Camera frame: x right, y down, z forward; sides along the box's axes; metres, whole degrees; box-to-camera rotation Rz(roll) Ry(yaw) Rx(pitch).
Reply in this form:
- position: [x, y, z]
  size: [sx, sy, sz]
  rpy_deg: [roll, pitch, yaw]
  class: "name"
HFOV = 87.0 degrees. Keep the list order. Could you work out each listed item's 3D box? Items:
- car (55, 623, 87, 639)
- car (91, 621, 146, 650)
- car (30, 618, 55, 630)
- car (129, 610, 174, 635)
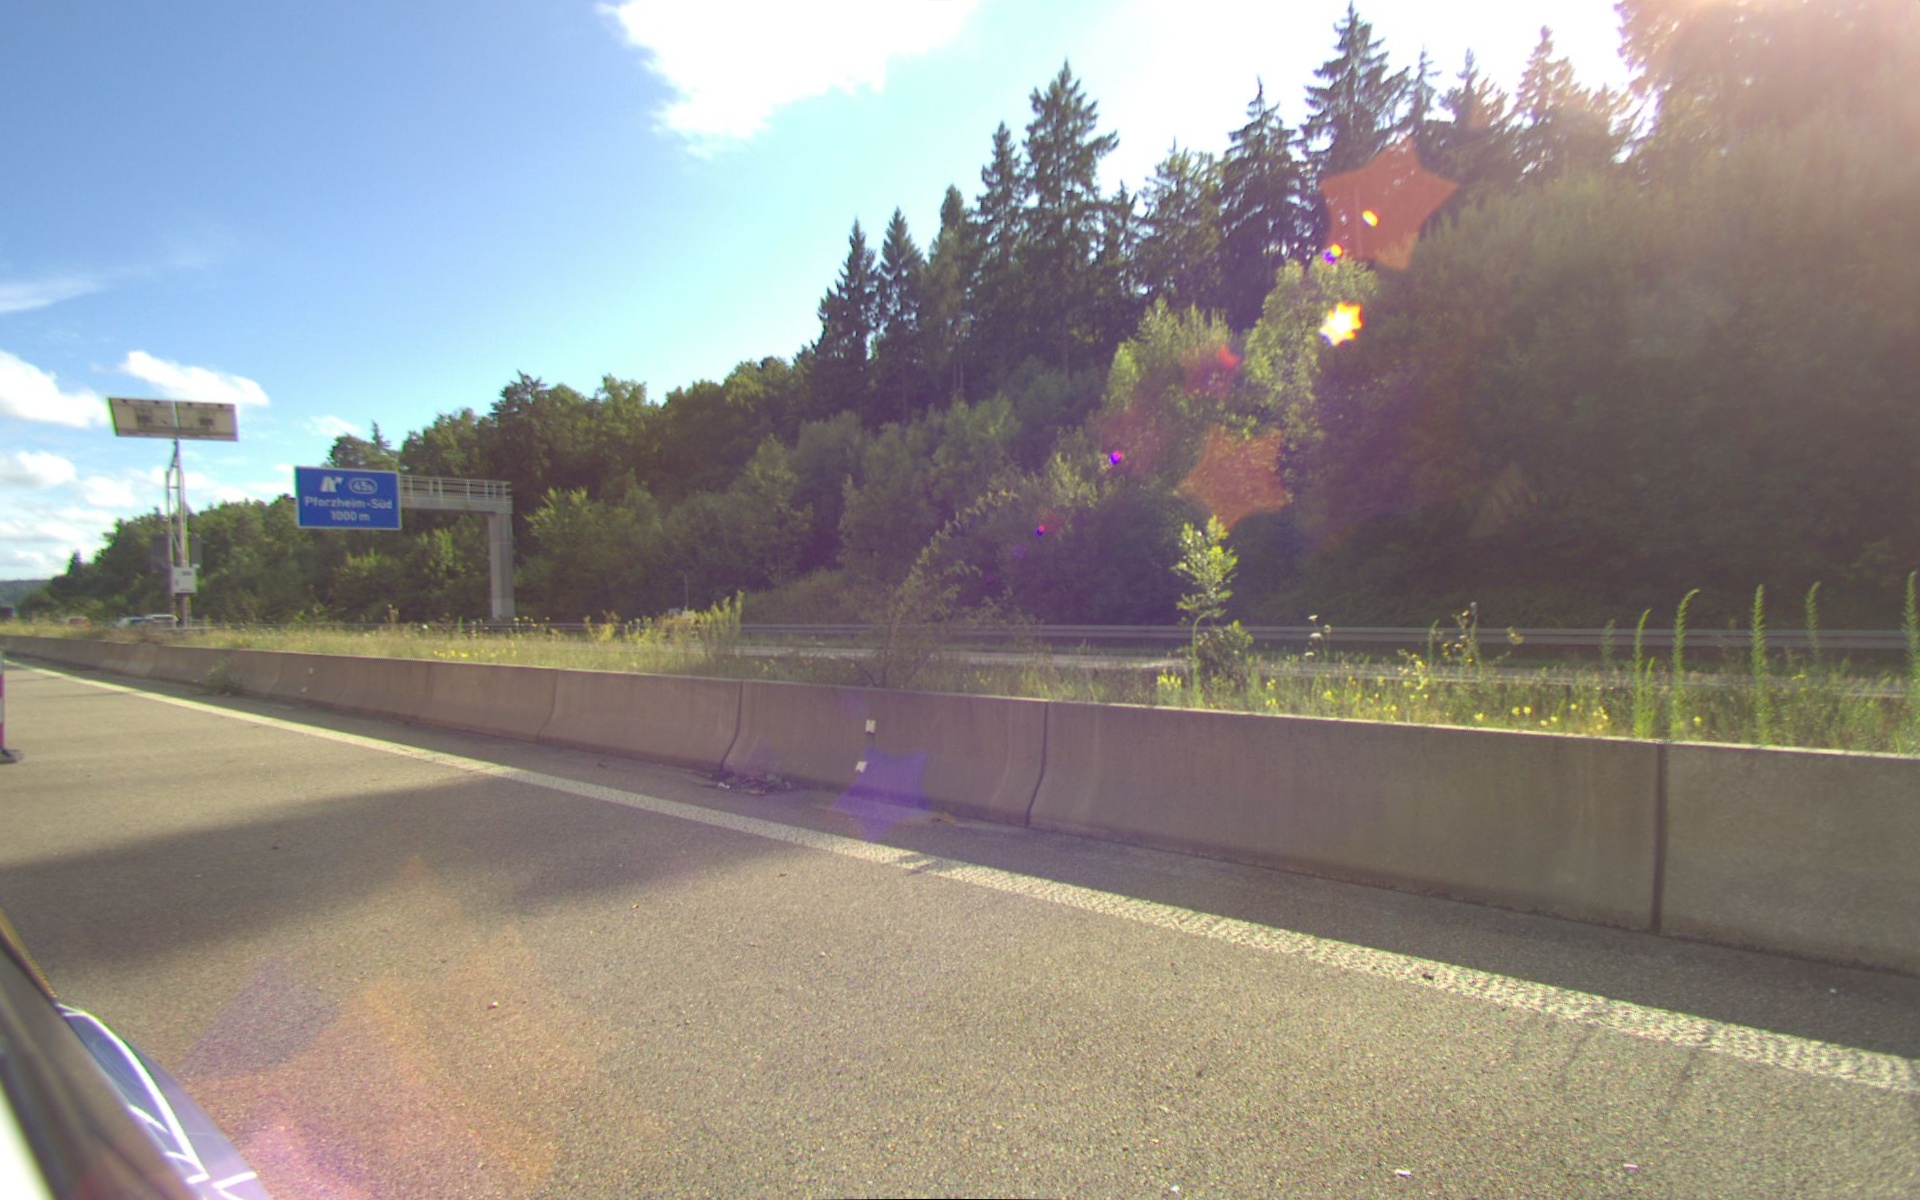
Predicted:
- position: [-80.154, 2.774, 91.254]
  size: [3.909, 1.398, 1.643]
  rpy_deg: [-1, 0, 41]
  class: "car"
- position: [-43.890, 1.814, 52.777]
  size: [3.911, 1.398, 1.643]
  rpy_deg: [-1, 0, 42]
  class: "car"
- position: [-118.595, 3.132, 130.744]
  size: [3.909, 1.475, 1.920]
  rpy_deg: [-1, 0, 41]
  class: "car"
- position: [-53.459, 1.460, 66.919]
  size: [3.909, 1.593, 1.643]
  rpy_deg: [-1, 0, 41]
  class: "car"
